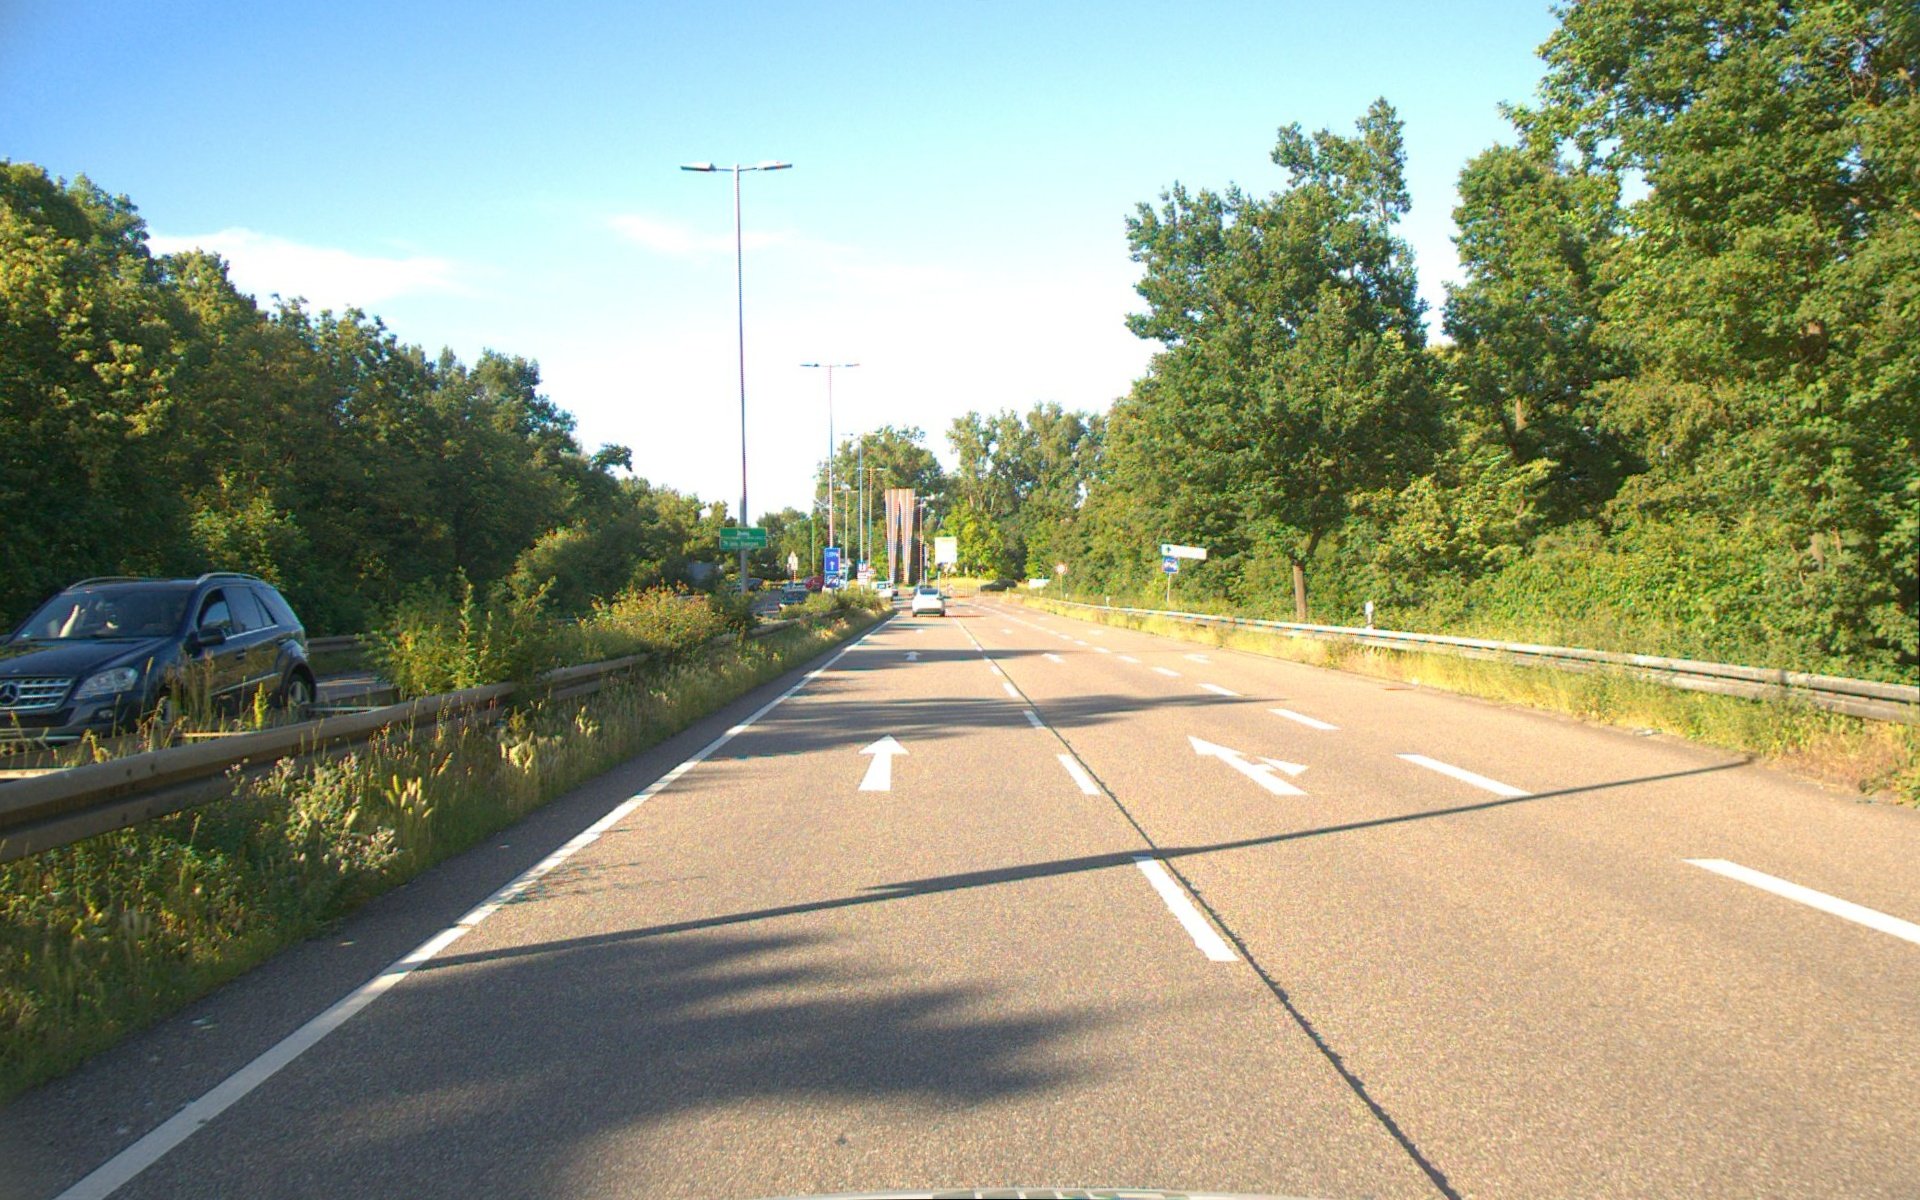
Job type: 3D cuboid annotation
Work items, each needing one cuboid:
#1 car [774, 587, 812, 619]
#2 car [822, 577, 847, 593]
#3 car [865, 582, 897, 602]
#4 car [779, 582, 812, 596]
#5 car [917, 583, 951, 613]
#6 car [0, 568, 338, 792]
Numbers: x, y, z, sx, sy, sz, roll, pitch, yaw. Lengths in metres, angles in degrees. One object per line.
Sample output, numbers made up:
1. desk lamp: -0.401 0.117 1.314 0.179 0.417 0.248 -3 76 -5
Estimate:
1. car: -9.542 0.161 94.670 1.749 1.740 4.546 -1 0 -1
2. car: -13.683 -1.648 179.928 1.937 1.728 3.983 -1 2 -16
3. car: -7.667 -0.806 160.395 1.963 1.912 4.227 -1 1 -18
4. car: -18.957 -1.289 190.637 2.245 1.534 3.956 -1 0 -32
5. car: -1.548 -0.141 96.761 1.953 1.668 4.127 -1 1 -2
6. car: -7.665 0.637 15.678 1.804 1.788 4.711 -1 0 -1
